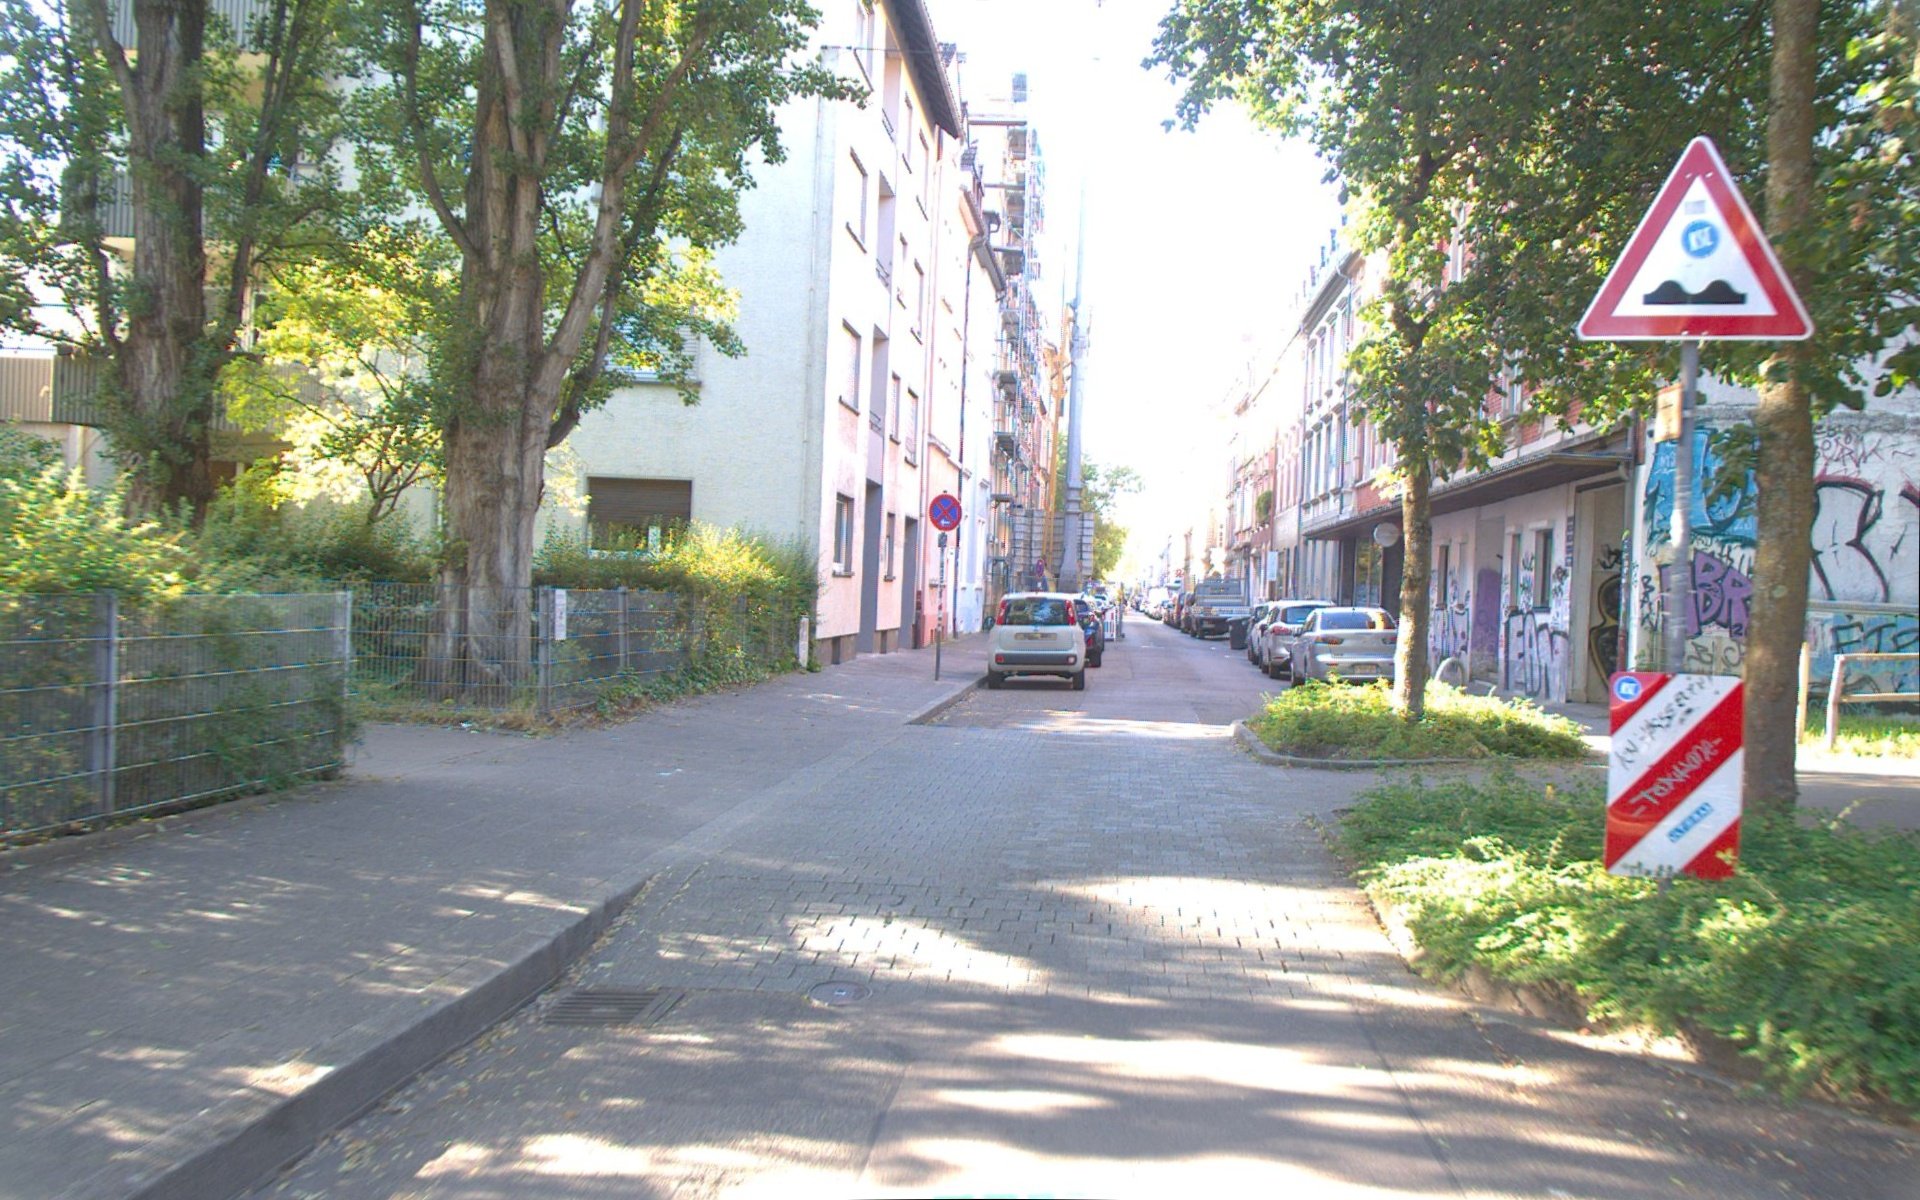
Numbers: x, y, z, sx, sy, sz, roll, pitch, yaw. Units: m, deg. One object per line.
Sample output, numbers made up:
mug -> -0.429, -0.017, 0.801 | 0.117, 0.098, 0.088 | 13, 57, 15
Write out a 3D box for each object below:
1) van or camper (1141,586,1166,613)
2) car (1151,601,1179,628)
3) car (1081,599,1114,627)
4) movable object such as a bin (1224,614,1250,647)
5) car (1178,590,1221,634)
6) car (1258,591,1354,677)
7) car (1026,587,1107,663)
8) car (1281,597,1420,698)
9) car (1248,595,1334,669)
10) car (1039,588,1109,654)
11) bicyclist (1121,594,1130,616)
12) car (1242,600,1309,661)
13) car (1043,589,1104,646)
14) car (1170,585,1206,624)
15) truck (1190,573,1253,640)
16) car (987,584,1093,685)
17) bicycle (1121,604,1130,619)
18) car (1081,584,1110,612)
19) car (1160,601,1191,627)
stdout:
van or camper -> 18.449, -0.052, 157.565 | 1.952, 2.552, 4.203 | 1, 0, 1
car -> 15.985, 1.107, 129.035 | 1.952, 2.049, 4.002 | 2, 0, 4
car -> 7.455, 0.702, 89.699 | 1.640, 1.470, 3.871 | 2, 0, 3
movable object such as a bin -> 9.395, 1.043, 56.113 | 0.778, 1.074, 0.660 | 2, 0, 5
car -> 11.375, 0.586, 78.807 | 1.640, 1.997, 4.110 | 2, 0, 3
car -> 7.359, 0.695, 35.454 | 1.605, 1.685, 3.872 | 2, 0, 6
car -> 2.354, 0.531, 36.934 | 1.693, 1.567, 4.379 | 1, 0, 3
car -> 6.812, 0.782, 29.274 | 1.685, 1.589, 4.400 | 2, 0, 4
car -> 8.162, 0.761, 41.078 | 1.709, 1.705, 4.343 | 2, 0, 6
car -> 2.945, 0.522, 42.059 | 1.639, 1.538, 4.417 | 2, 0, 5
bicyclist -> 14.059, 0.438, 140.434 | 0.715, 1.792, 0.836 | 3, 1, 6
car -> 8.795, 0.819, 46.356 | 1.563, 1.587, 3.816 | 1, 0, 7
car -> 3.317, 0.493, 47.685 | 1.639, 1.503, 4.610 | 2, 0, 5
car -> 12.561, 0.270, 91.258 | 1.640, 2.066, 3.871 | 2, 0, 3
truck -> 10.747, 0.252, 68.313 | 2.144, 2.652, 5.237 | 1, 0, 4
car -> 1.375, 0.553, 28.154 | 1.640, 1.566, 3.871 | 1, 0, 3
bicycle -> 14.022, 0.966, 140.362 | 0.709, 1.207, 2.044 | 3, 1, 6
car -> 8.167, -0.093, 99.864 | 1.640, 1.598, 3.871 | 2, 0, 3
car -> 13.576, 0.878, 104.456 | 1.640, 1.598, 3.871 | 1, 0, 3
